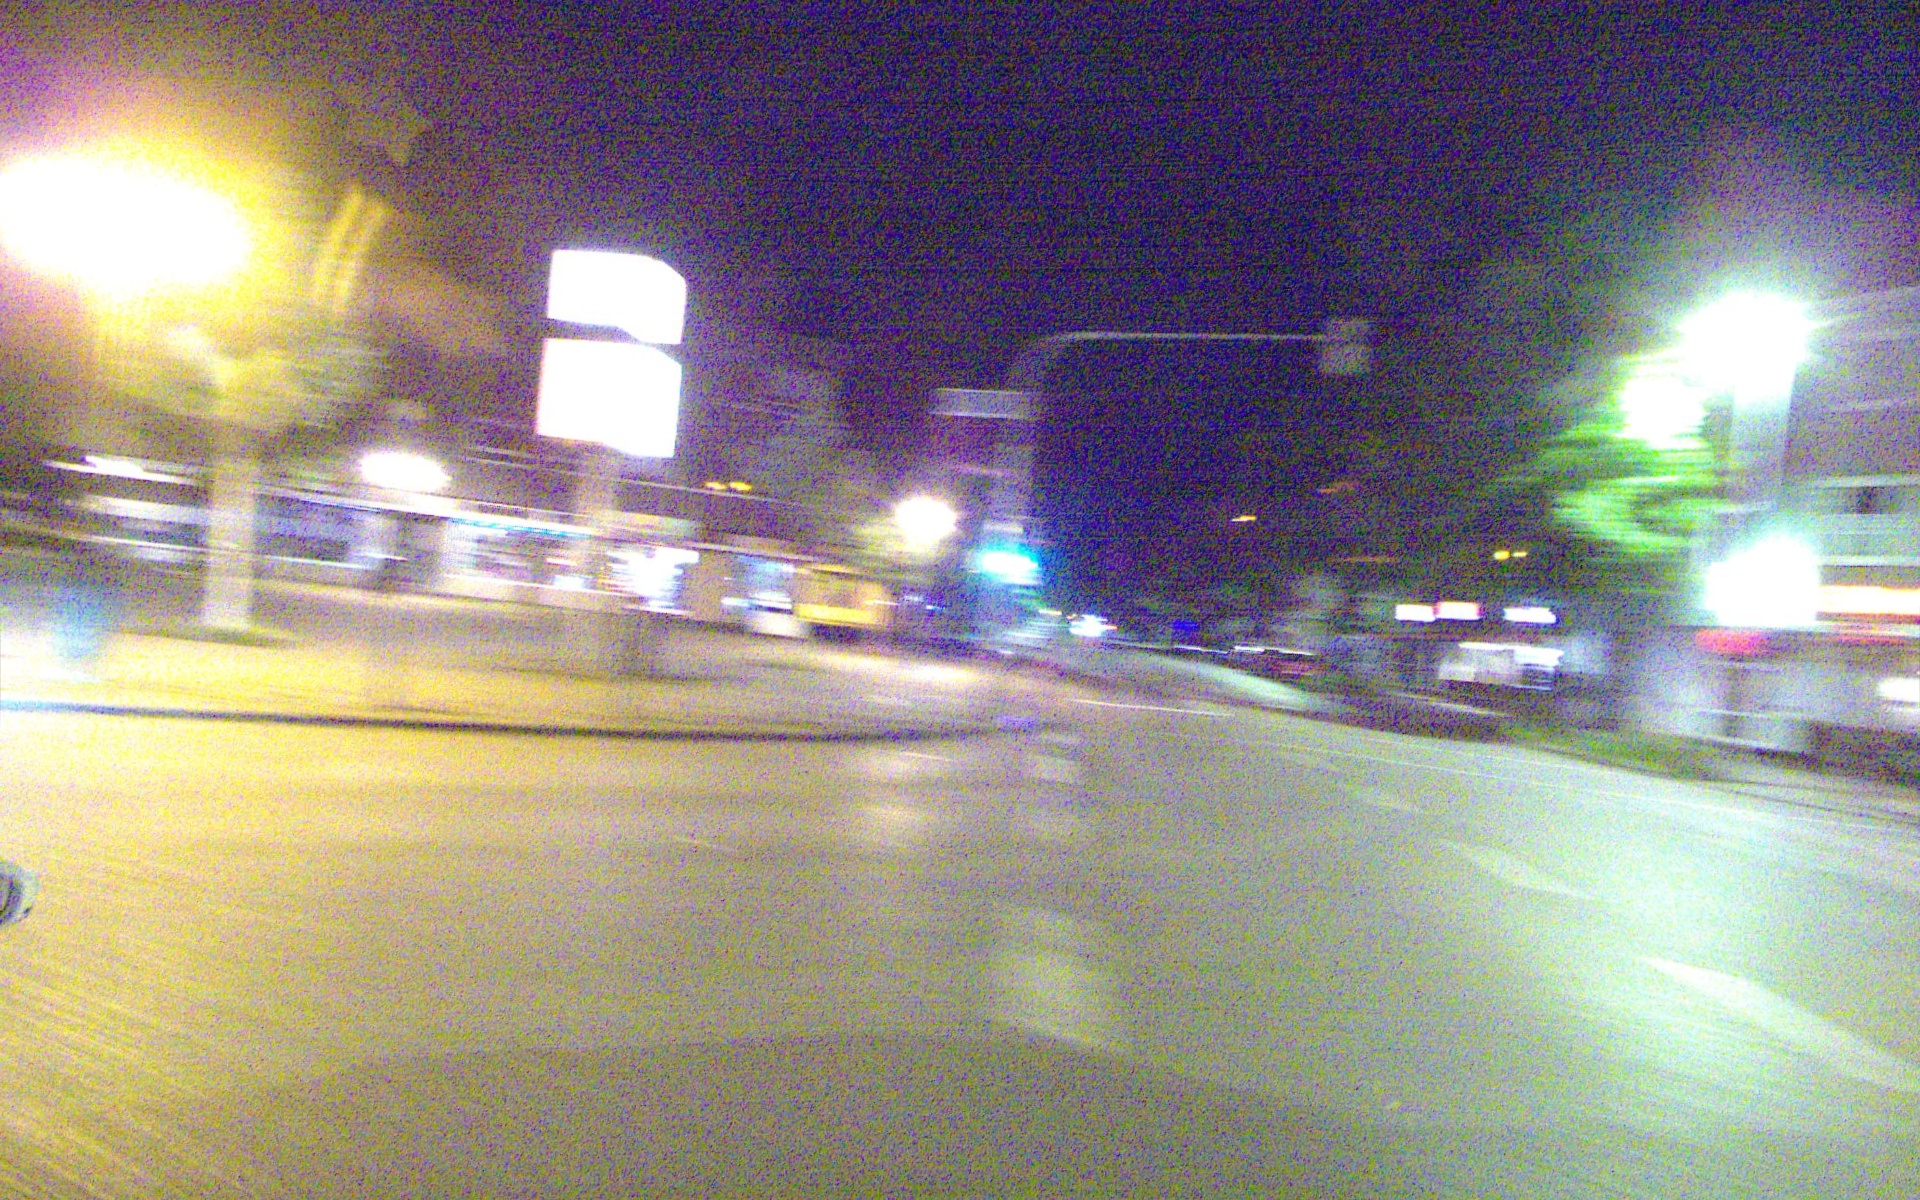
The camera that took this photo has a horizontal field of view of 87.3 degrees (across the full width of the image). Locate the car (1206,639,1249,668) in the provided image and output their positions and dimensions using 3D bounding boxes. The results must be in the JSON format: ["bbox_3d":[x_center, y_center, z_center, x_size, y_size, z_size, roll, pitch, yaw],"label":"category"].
[{"bbox_3d":[16.629,3.286,62.709,1.859,1.470,3.897,8,0,7],"label":"car"}]

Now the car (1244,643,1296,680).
[{"bbox_3d":[15.487,3.038,50.466,1.859,1.470,3.897,8,0,10],"label":"car"}]

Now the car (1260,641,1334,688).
[{"bbox_3d":[15.047,2.846,45.154,1.840,1.673,3.863,8,0,1],"label":"car"}]

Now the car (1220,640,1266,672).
[{"bbox_3d":[16.182,3.178,57.688,1.859,1.470,3.897,8,0,7],"label":"car"}]

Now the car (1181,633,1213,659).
[{"bbox_3d":[17.901,3.465,76.068,1.975,1.645,3.897,8,0,10],"label":"car"}]
